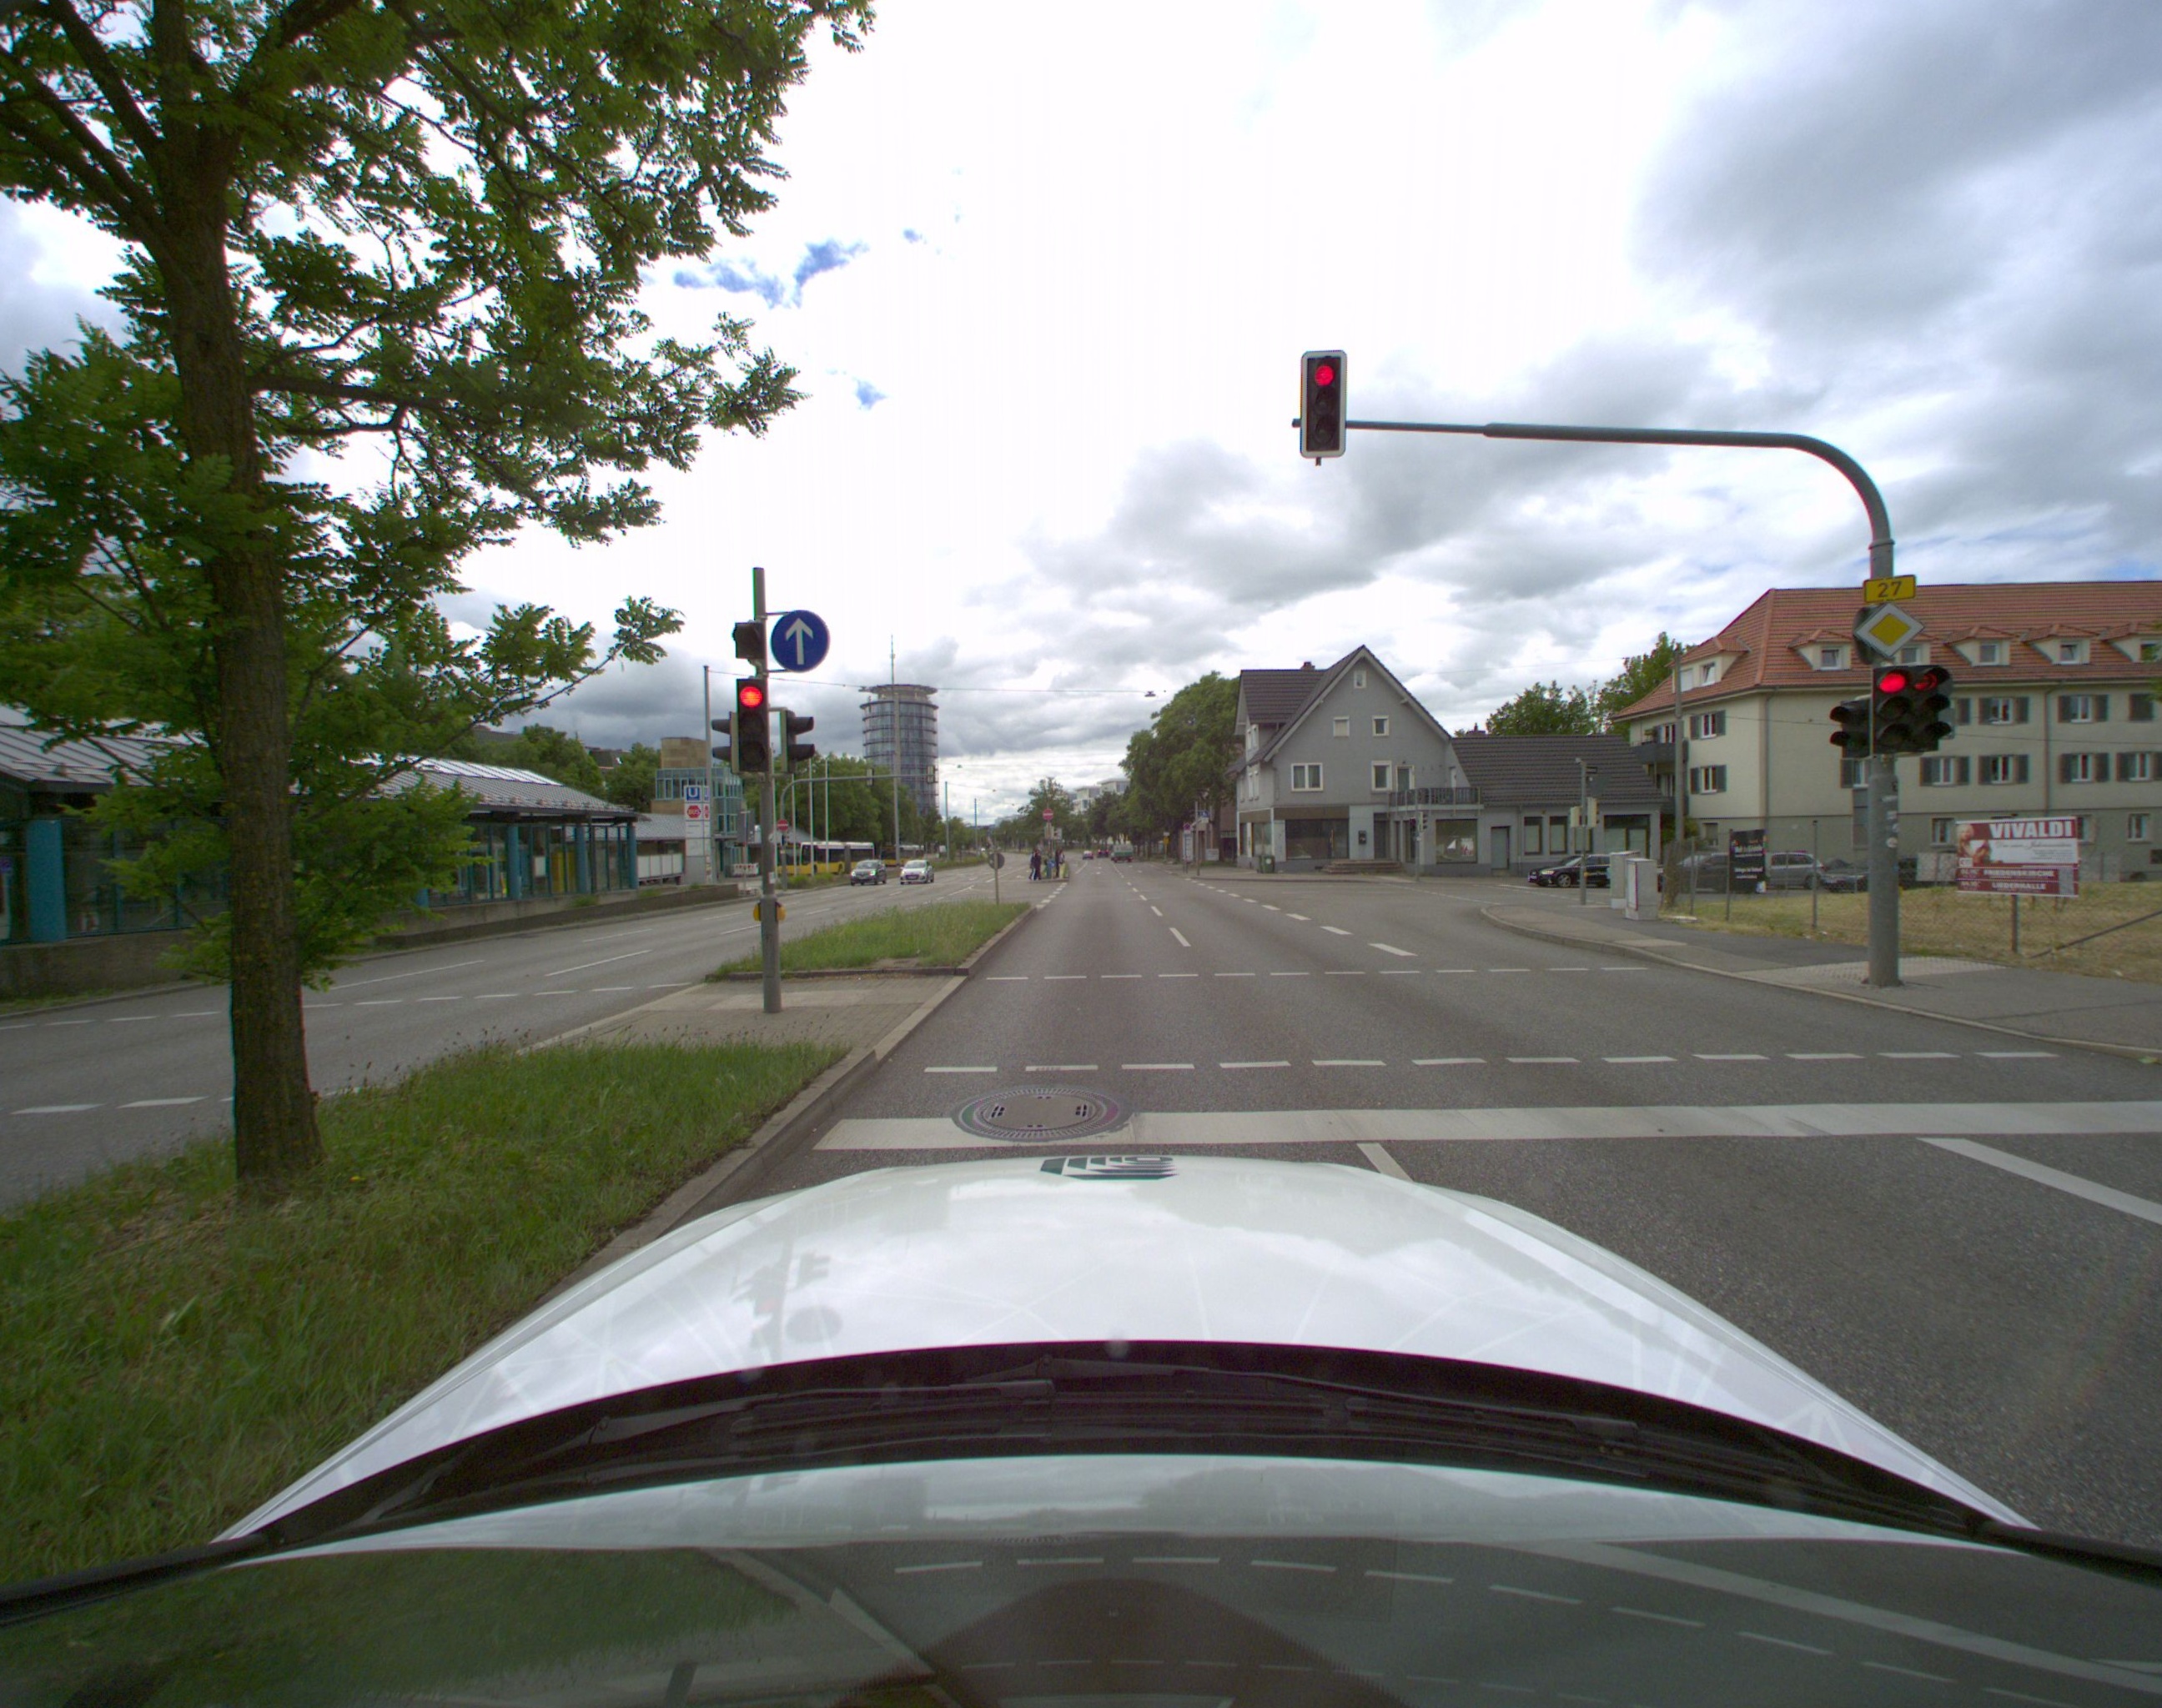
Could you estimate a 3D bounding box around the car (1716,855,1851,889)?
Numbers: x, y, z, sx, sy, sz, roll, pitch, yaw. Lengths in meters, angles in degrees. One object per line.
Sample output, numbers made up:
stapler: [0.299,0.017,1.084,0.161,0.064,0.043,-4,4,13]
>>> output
car: [29.060,0.726,33.770,4.075,1.371,1.800,0,0,0]

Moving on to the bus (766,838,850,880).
bus: [-24.246,0.381,73.116,2.817,3.430,10.750,-2,0,6]

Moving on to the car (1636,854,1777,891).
car: [24.015,0.694,31.376,4.075,1.371,1.800,0,0,0]

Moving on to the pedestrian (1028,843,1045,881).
pedestrian: [-2.421,0.437,43.999,0.829,2.013,0.545,-2,0,-6]

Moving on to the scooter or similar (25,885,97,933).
scooter or similar: [-28.899,1.535,23.092,0.479,1.267,1.285,1,0,-6]

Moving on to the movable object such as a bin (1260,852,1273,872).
movable object such as a bin: [9.975,0.450,43.817,0.602,1.059,0.590,0,0,3]

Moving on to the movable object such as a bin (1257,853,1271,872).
movable object such as a bin: [10.007,0.456,44.533,0.613,1.043,0.590,0,0,3]

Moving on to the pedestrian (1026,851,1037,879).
pedestrian: [-2.735,0.606,44.659,0.543,1.496,0.485,-2,0,-8]

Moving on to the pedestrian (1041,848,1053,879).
pedestrian: [-1.894,0.545,45.458,0.582,1.716,0.545,-2,0,-5]

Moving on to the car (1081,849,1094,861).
car: [1.069,0.195,132.536,1.986,1.830,4.001,-1,0,1]

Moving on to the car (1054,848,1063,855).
car: [-4.875,-0.594,176.605,1.988,1.519,3.997,-2,0,-2]

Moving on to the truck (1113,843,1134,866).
truck: [5.171,-0.005,99.180,2.461,2.611,6.553,0,1,3]

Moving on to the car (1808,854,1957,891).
car: [31.142,0.706,31.723,4.075,1.371,1.800,0,0,0]

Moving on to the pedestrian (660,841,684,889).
pedestrian: [-17.537,0.457,34.935,0.680,2.013,0.645,-2,0,-3]

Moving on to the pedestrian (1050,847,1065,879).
pedestrian: [-1.307,0.503,44.731,0.744,1.716,0.582,-2,0,-6]

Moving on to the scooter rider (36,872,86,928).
scooter rider: [-28.903,1.297,23.086,0.524,1.545,0.705,1,0,-6]

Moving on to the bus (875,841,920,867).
bus: [-25.713,0.018,114.930,2.817,3.430,10.750,-2,0,6]

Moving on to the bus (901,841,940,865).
bus: [-24.634,-0.101,125.653,2.817,3.430,10.750,-2,0,6]

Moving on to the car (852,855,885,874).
car: [-19.617,0.948,75.400,1.798,1.662,4.003,-2,0,3]

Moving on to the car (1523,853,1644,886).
car: [21.369,0.642,34.730,4.075,1.371,1.800,0,0,0]

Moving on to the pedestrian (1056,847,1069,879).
pedestrian: [-1.013,0.502,44.155,0.652,1.716,0.451,-2,0,-6]

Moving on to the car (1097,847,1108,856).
car: [3.717,-0.382,140.077,1.986,1.552,4.001,0,0,1]

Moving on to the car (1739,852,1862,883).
car: [32.846,0.608,37.242,4.075,1.371,1.800,0,0,0]

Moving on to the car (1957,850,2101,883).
car: [40.257,0.524,34.664,4.075,1.371,1.800,0,0,0]

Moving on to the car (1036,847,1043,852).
car: [-12.664,-1.451,248.047,1.992,1.552,3.990,-2,0,-7]

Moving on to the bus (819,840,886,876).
bus: [-23.213,0.360,83.506,2.817,3.430,10.750,-2,0,6]

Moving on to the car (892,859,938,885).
car: [-10.424,1.079,51.343,1.987,1.486,4.000,-2,0,0]

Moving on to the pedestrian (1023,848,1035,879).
pedestrian: [-2.907,0.546,45.500,0.611,1.716,0.545,-2,0,-5]

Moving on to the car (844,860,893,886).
car: [-13.462,1.163,51.828,1.987,1.486,4.000,-2,0,0]
